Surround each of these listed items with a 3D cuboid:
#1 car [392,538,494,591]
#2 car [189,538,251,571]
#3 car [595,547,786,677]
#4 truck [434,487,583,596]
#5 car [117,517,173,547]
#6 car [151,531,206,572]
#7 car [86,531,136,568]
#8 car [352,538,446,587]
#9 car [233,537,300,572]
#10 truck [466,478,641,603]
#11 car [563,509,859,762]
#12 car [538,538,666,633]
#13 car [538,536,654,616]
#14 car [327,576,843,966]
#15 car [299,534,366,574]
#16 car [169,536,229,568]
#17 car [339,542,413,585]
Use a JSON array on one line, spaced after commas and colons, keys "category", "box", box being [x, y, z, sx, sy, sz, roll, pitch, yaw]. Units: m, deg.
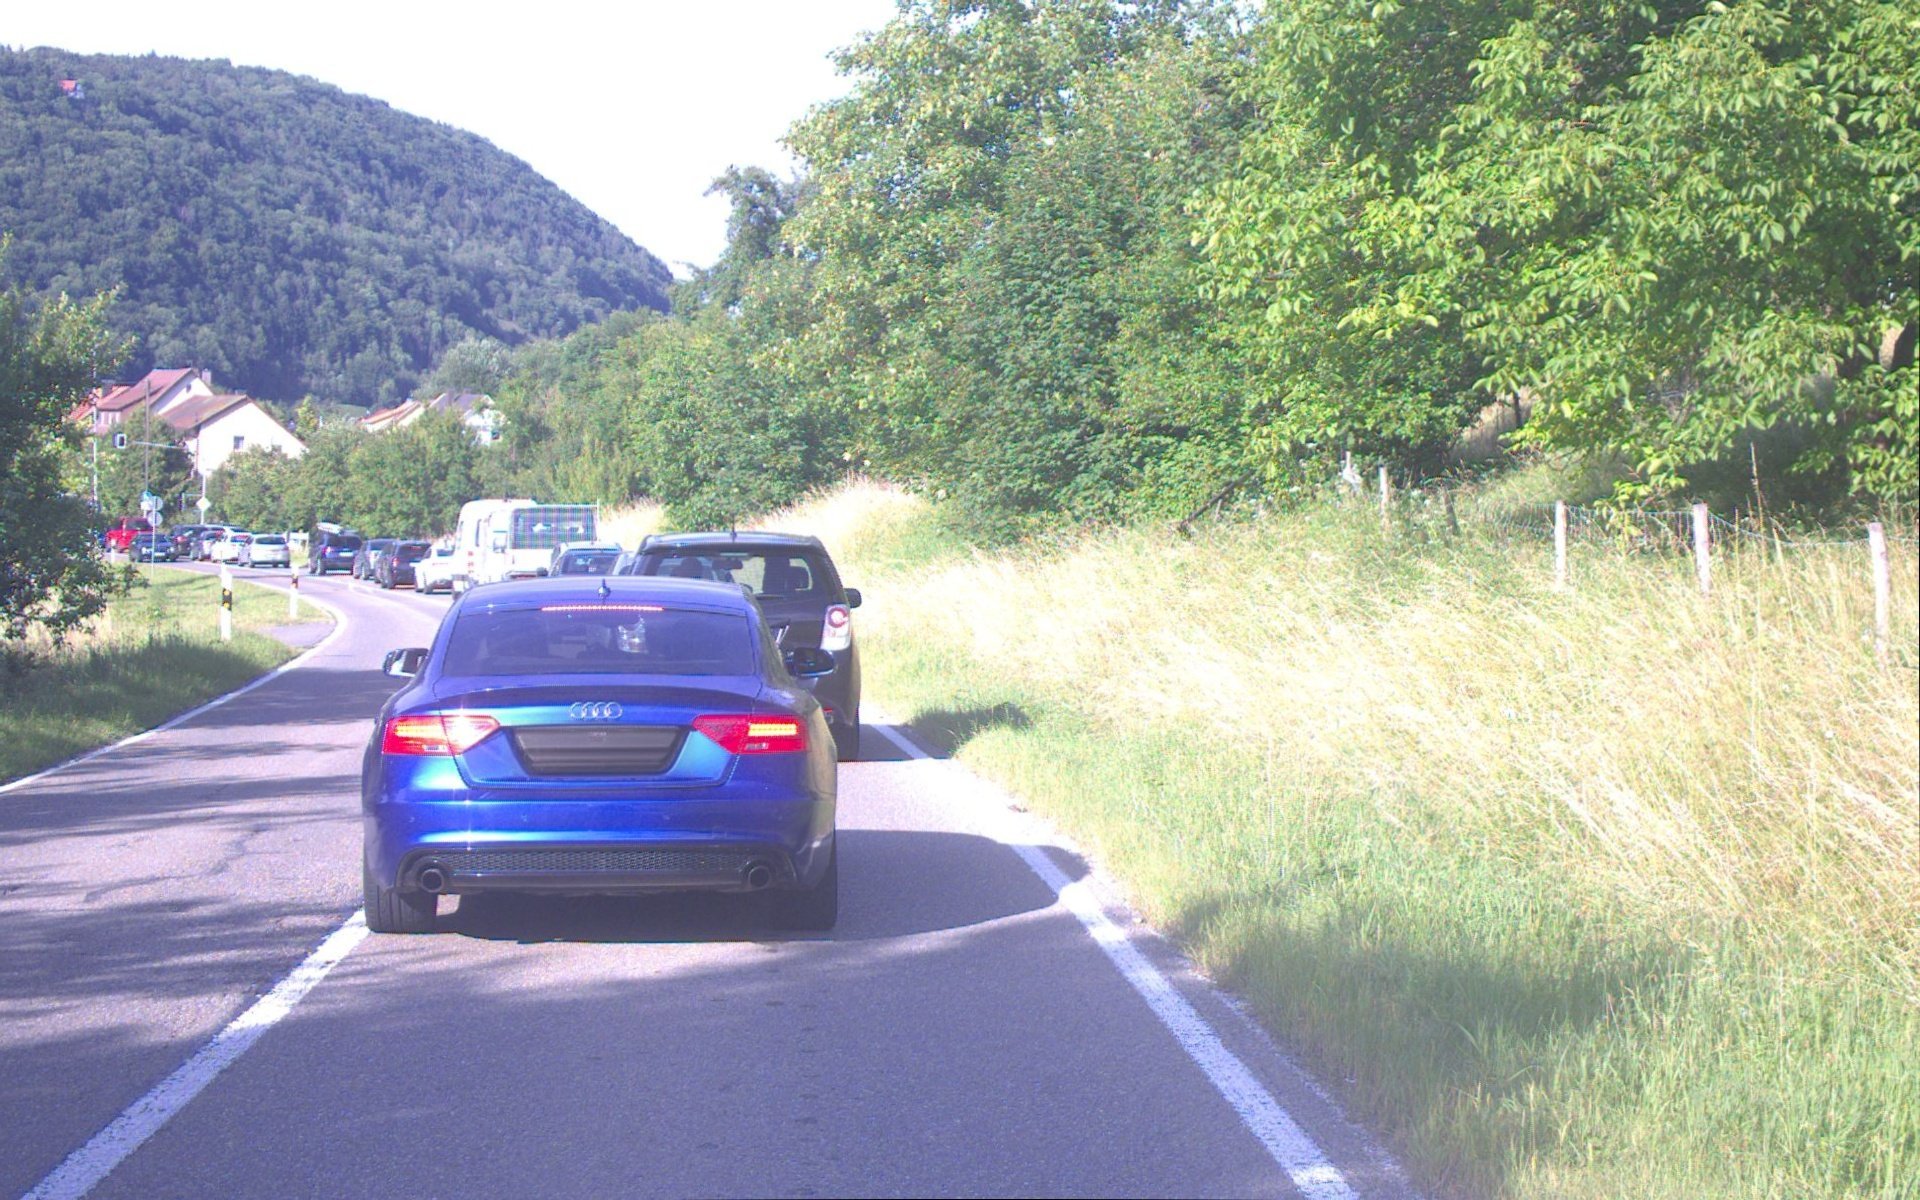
[{"category": "car", "box": [-14.945, -1.018, 99.291, 1.993, 1.477, 4.001, 0, 0, -22]}, {"category": "car", "box": [-33.965, -2.101, 157.731, 1.993, 1.477, 4.001, 0, 1, -24]}, {"category": "car", "box": [-2.997, 0.114, 38.943, 1.993, 1.382, 4.000, 1, 0, -2]}, {"category": "truck", "box": [-11.968, -1.535, 90.316, 2.863, 2.656, 10.648, 0, 1, -13]}, {"category": "car", "box": [-38.220, -3.171, 161.169, 1.993, 1.371, 4.001, 0, 0, -22]}, {"category": "car", "box": [-39.188, -2.426, 172.333, 1.993, 2.007, 4.001, 0, 0, -23]}, {"category": "car", "box": [-46.120, -2.731, 186.717, 1.993, 2.007, 4.001, 0, 0, -23]}, {"category": "car", "box": [-17.419, -1.164, 106.588, 1.993, 1.477, 4.001, 0, 0, -22]}, {"category": "car", "box": [-30.166, -1.987, 149.411, 1.993, 1.477, 4.001, 0, 1, -24]}, {"category": "truck", "box": [-9.469, -1.357, 79.019, 2.863, 2.656, 10.396, 0, 1, -13]}, {"category": "car", "box": [-1.768, 0.225, 25.351, 1.993, 1.696, 4.000, 1, 0, -2]}, {"category": "car", "box": [-5.882, -0.240, 56.178, 1.993, 1.477, 4.001, 1, 0, -7]}, {"category": "car", "box": [-7.091, -0.467, 66.615, 1.993, 1.477, 4.001, 0, 0, -9]}, {"category": "car", "box": [-1.409, 0.597, 14.305, 1.793, 1.355, 4.000, 0, 1, -1]}, {"category": "car", "box": [-24.157, -1.774, 132.310, 1.993, 1.477, 4.001, 0, 0, -18]}, {"category": "car", "box": [-36.227, -2.287, 163.566, 1.993, 1.477, 4.001, 0, 1, -24]}, {"category": "car", "box": [-20.787, -1.311, 122.327, 1.993, 1.477, 4.001, 0, 0, -18]}]
